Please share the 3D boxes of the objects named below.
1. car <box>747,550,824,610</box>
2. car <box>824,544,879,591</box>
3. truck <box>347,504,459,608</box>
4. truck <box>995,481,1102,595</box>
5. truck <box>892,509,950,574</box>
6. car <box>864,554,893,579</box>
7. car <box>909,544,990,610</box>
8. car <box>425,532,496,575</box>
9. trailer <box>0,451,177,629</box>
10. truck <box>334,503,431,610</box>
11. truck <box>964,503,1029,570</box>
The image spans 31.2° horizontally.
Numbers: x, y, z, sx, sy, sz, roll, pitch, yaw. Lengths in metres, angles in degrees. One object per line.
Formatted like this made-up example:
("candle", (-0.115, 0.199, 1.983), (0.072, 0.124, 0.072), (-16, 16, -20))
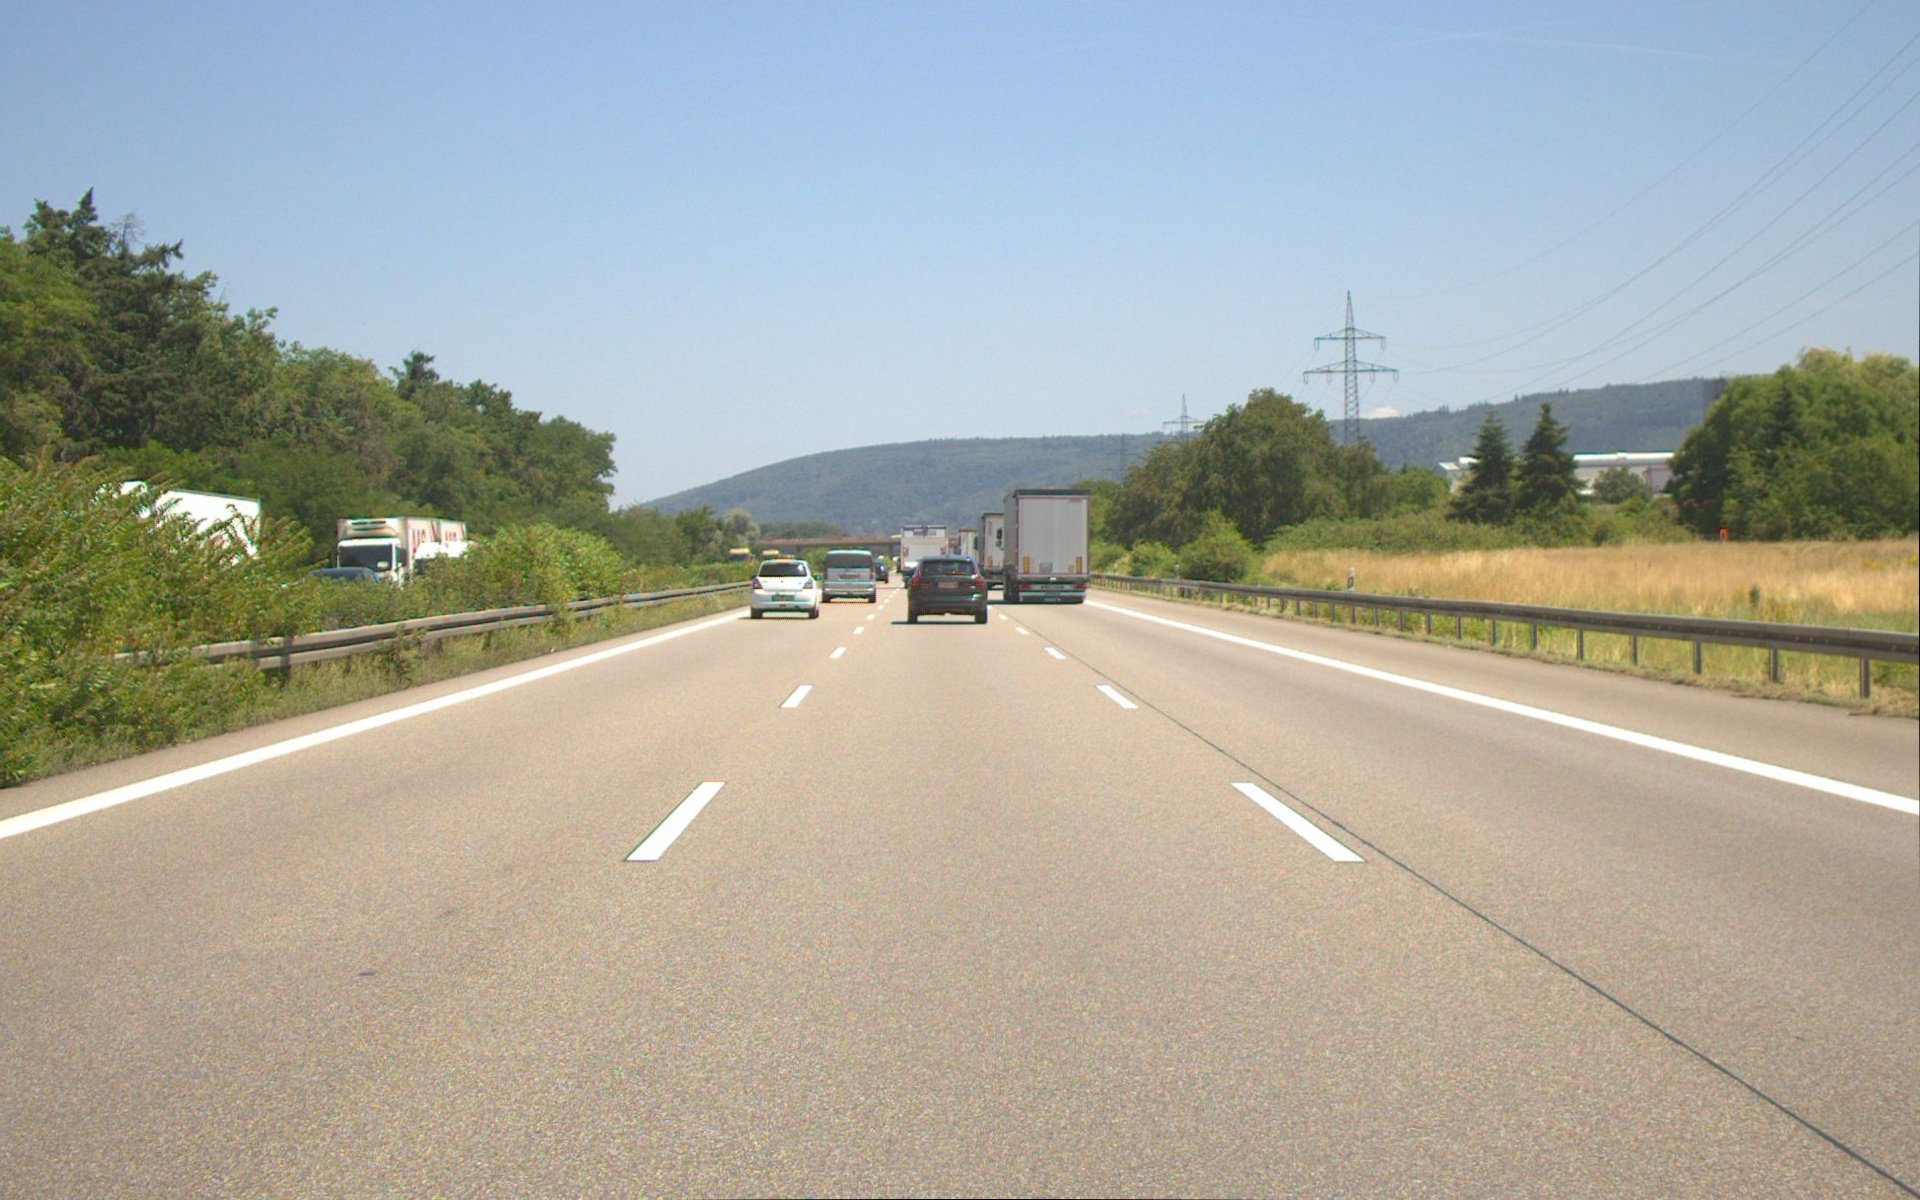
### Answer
("car", (-4.493, -0.541, 89.007), (1.806, 1.463, 4.000), (1, 1, -1))
("car", (-3.864, -1.187, 123.263), (1.852, 1.627, 4.000), (1, 1, -1))
("truck", (-21.639, -1.764, 134.139), (2.696, 3.844, 11.448), (1, 1, -1))
("truck", (3.100, -2.250, 123.927), (3.265, 3.844, 11.632), (1, 1, -1))
("truck", (-2.207, -3.284, 192.647), (3.097, 3.462, 11.543), (1, 1, -1))
("car", (-5.495, -2.280, 232.078), (1.852, 1.627, 4.000), (1, 1, -1))
("car", (-0.261, -0.571, 82.424), (1.885, 1.510, 4.000), (1, 1, -1))
("car", (-16.821, -1.572, 115.973), (1.786, 1.397, 4.329), (1, 1, -1))
("trailer", (-21.175, -1.447, 81.120), (2.664, 3.844, 12.754), (1, 1, -1))
("truck", (-21.517, -1.644, 128.328), (2.696, 3.844, 5.773), (1, 1, -1))
("truck", (1.895, -3.426, 184.769), (3.097, 3.462, 11.543), (1, 1, -1))
